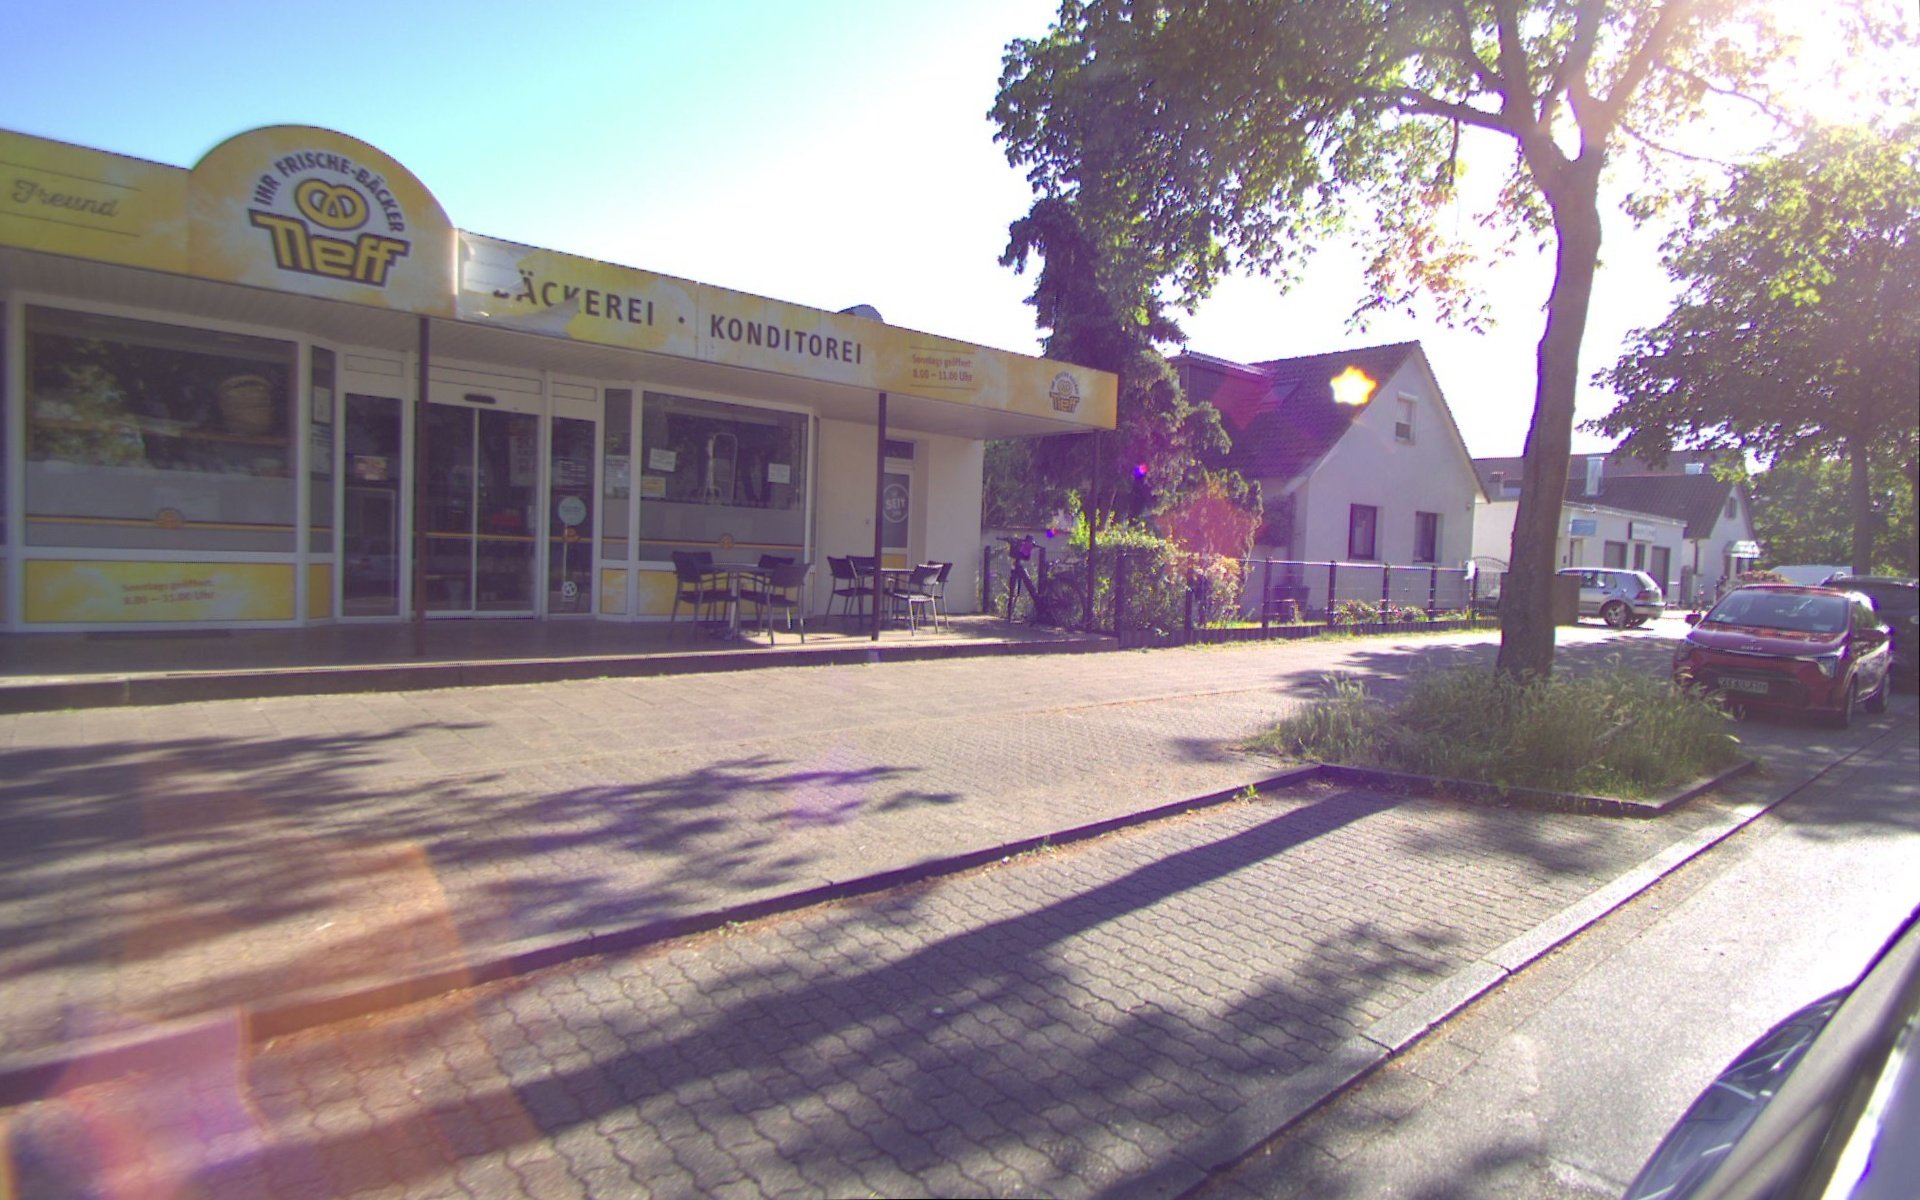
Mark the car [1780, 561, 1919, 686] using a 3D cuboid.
[{"bbox_3d":[14.610,0.284,15.787,4.284,1.714,1.942,-1,3,-39],"label":"car"}]

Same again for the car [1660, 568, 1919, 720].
[{"bbox_3d":[9.964,0.384,12.060,3.711,1.438,1.690,-2,5,-40],"label":"car"}]

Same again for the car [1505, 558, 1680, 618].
[{"bbox_3d":[16.603,-0.310,26.687,1.668,1.457,3.615,-2,1,-43],"label":"car"}]
